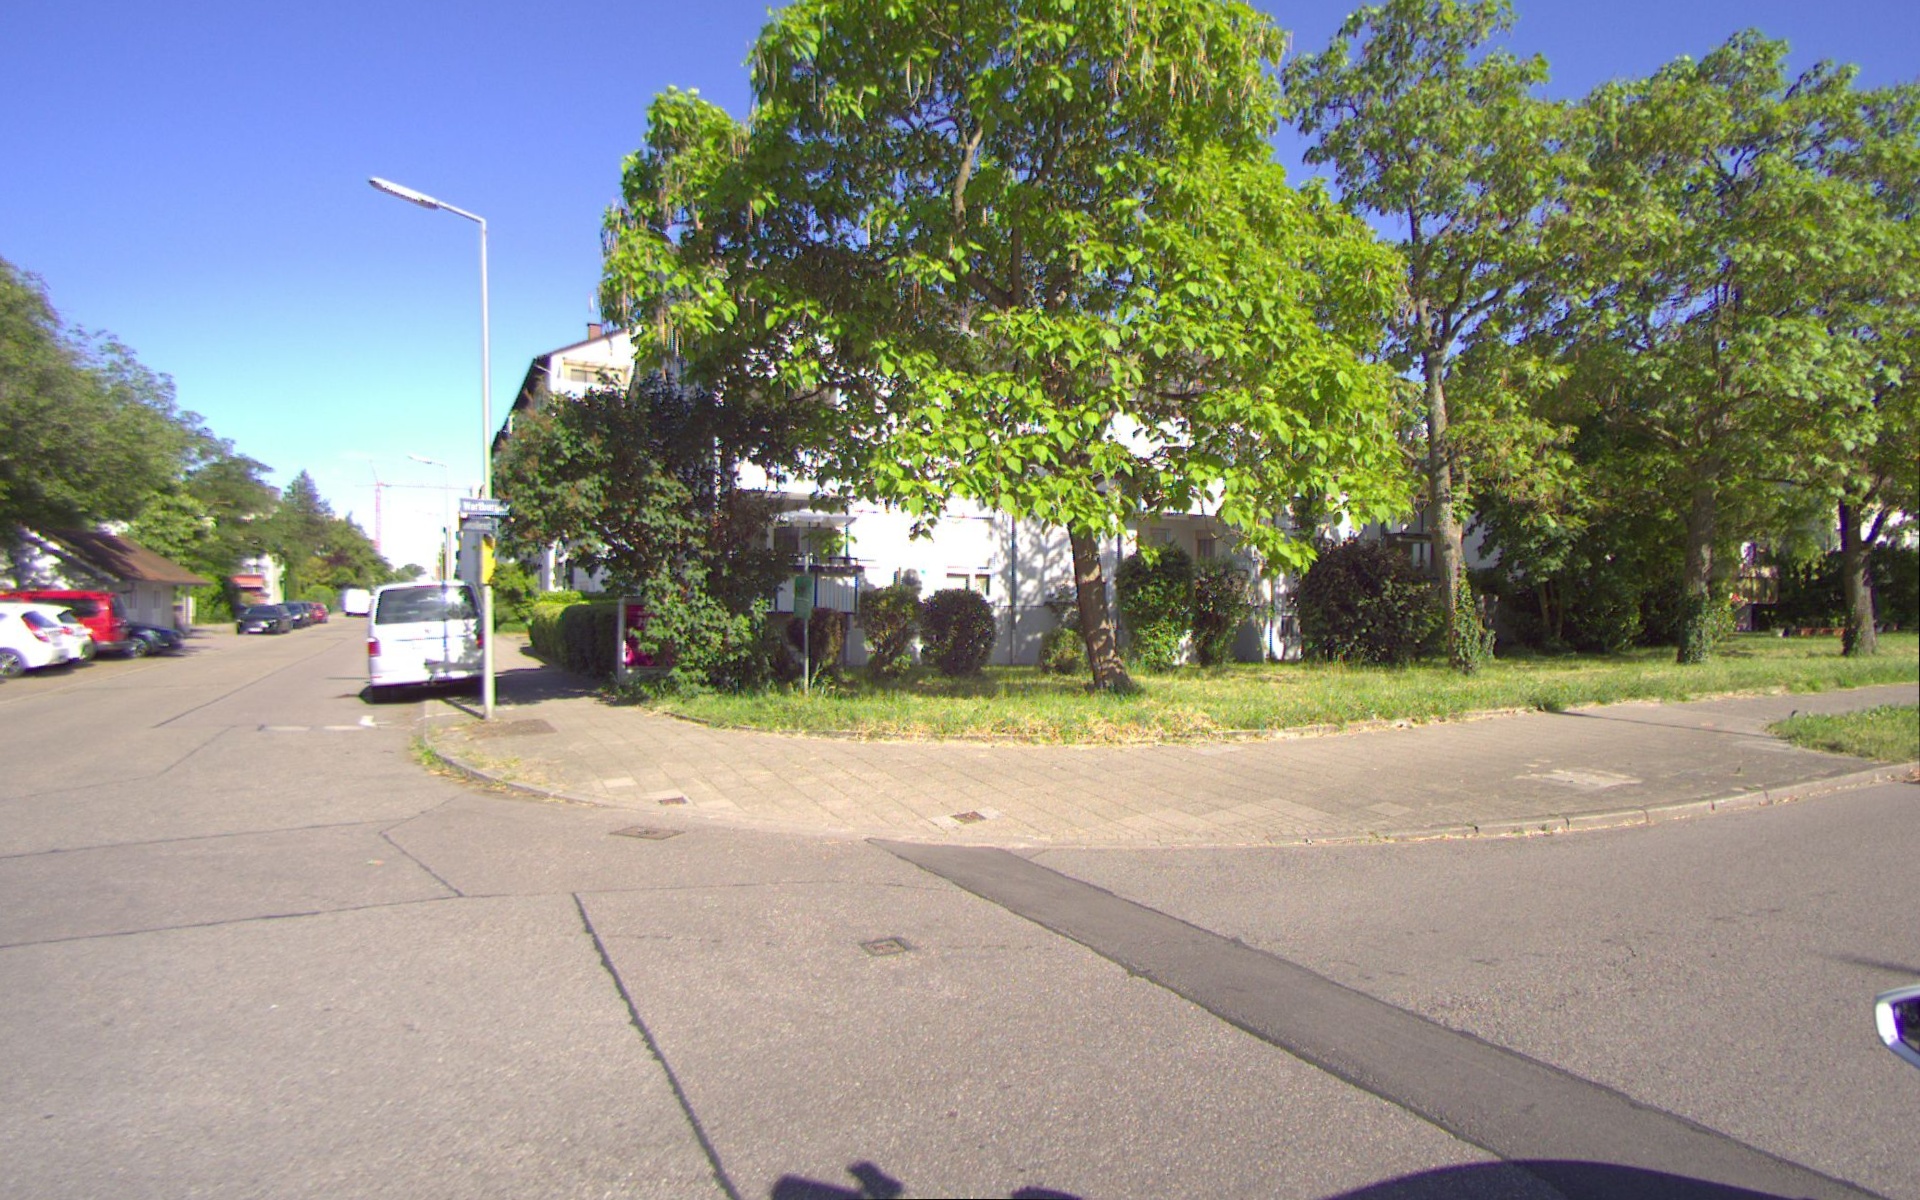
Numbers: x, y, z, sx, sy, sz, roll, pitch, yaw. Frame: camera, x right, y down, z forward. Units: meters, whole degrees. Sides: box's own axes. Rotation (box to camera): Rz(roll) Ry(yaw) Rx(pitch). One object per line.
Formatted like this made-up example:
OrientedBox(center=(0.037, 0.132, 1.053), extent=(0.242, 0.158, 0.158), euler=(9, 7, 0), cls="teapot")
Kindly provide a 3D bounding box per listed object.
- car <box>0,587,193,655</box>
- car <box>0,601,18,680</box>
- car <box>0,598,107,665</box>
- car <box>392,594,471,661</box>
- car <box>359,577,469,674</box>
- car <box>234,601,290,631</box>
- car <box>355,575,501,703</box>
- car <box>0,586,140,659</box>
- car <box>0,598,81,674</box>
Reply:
OrientedBox(center=(-24.589, 0.602, 28.435), extent=(4.303, 1.794, 1.662), euler=(2, -1, -30), cls="car")
OrientedBox(center=(-19.999, 0.714, 18.260), extent=(3.839, 1.506, 1.662), euler=(2, -1, -30), cls="car")
OrientedBox(center=(-22.360, 0.697, 23.130), extent=(3.839, 1.506, 1.662), euler=(2, -1, -30), cls="car")
OrientedBox(center=(-15.379, 0.735, 29.211), extent=(1.898, 1.806, 4.065), euler=(0, 0, -29), cls="car")
OrientedBox(center=(-12.457, 0.542, 23.135), extent=(1.910, 2.025, 3.976), euler=(0, 0, -24), cls="car")
OrientedBox(center=(-34.746, 0.770, 50.086), extent=(1.747, 1.438, 3.873), euler=(0, 0, -27), cls="car")
OrientedBox(center=(-9.450, 0.614, 18.172), extent=(2.041, 1.995, 4.438), euler=(-1, 0, -25), cls="car")
OrientedBox(center=(-24.201, 0.575, 25.996), extent=(4.303, 1.831, 1.662), euler=(2, -1, -30), cls="car")
OrientedBox(center=(-21.101, 0.720, 20.964), extent=(3.839, 1.578, 1.662), euler=(2, -1, -30), cls="car")
